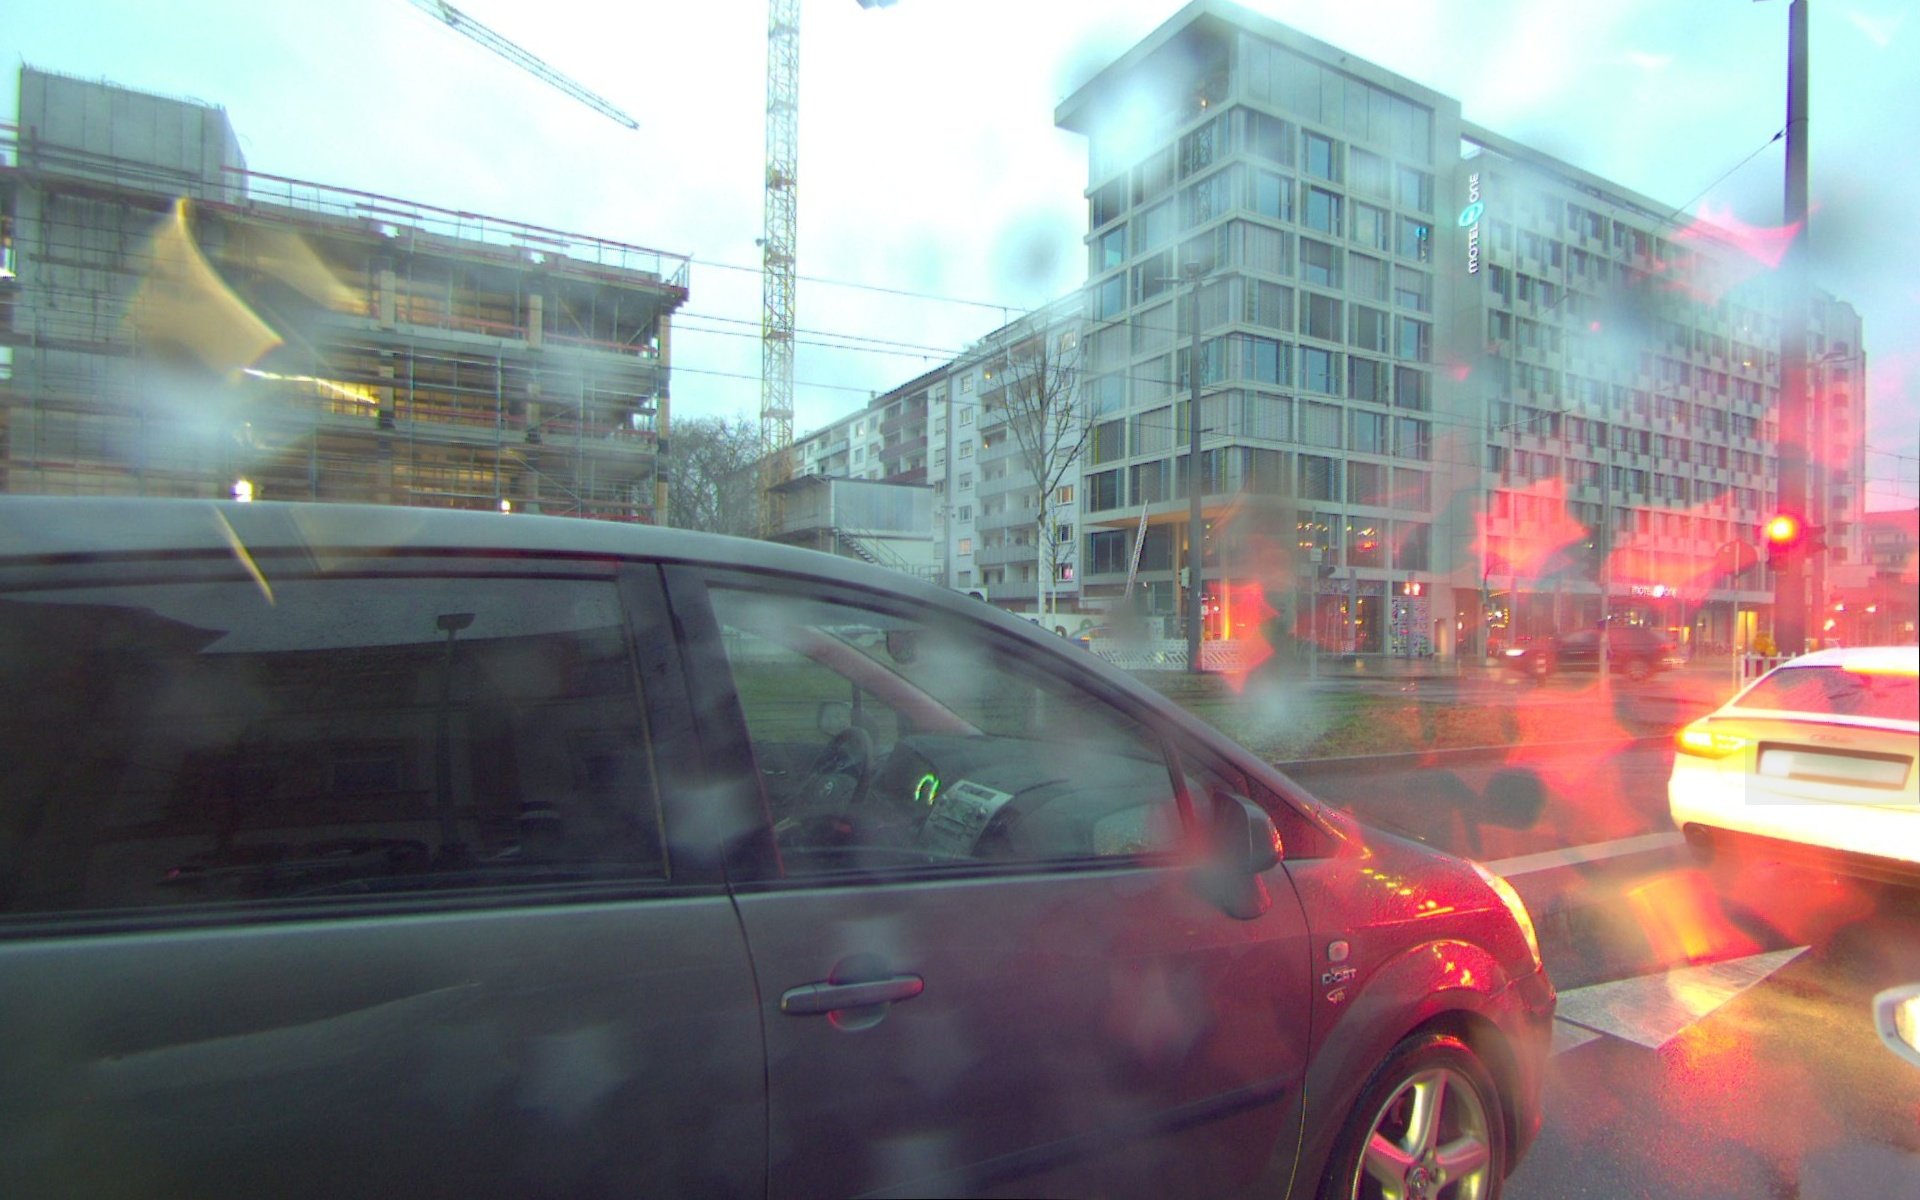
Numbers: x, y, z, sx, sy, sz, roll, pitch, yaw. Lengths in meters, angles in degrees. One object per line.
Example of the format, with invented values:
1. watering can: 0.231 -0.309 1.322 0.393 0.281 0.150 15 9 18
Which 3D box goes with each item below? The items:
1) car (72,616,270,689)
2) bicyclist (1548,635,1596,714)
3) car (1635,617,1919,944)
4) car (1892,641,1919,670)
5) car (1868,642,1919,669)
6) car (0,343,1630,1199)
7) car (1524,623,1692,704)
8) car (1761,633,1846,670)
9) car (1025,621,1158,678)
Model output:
1. car: -21.303 1.410 27.360 3.955 1.795 1.983 2 0 -32
2. bicyclist: 23.111 2.782 37.912 1.332 2.865 1.187 2 0 40
3. car: 6.073 0.908 6.078 4.205 1.489 1.750 2 0 -32
4. car: 52.076 2.972 53.674 5.035 1.481 1.984 2 0 -30
5. car: 56.450 3.305 59.897 5.035 1.481 1.984 2 0 -30
6. car: -0.509 0.601 2.132 3.956 1.615 1.750 2 0 -32
7. car: 19.706 1.855 30.627 4.026 2.151 1.948 2 0 43
8. car: 44.866 2.727 53.426 4.541 1.813 1.874 2 0 -28
9. car: 4.308 1.631 33.364 4.008 1.709 1.957 2 0 -7
